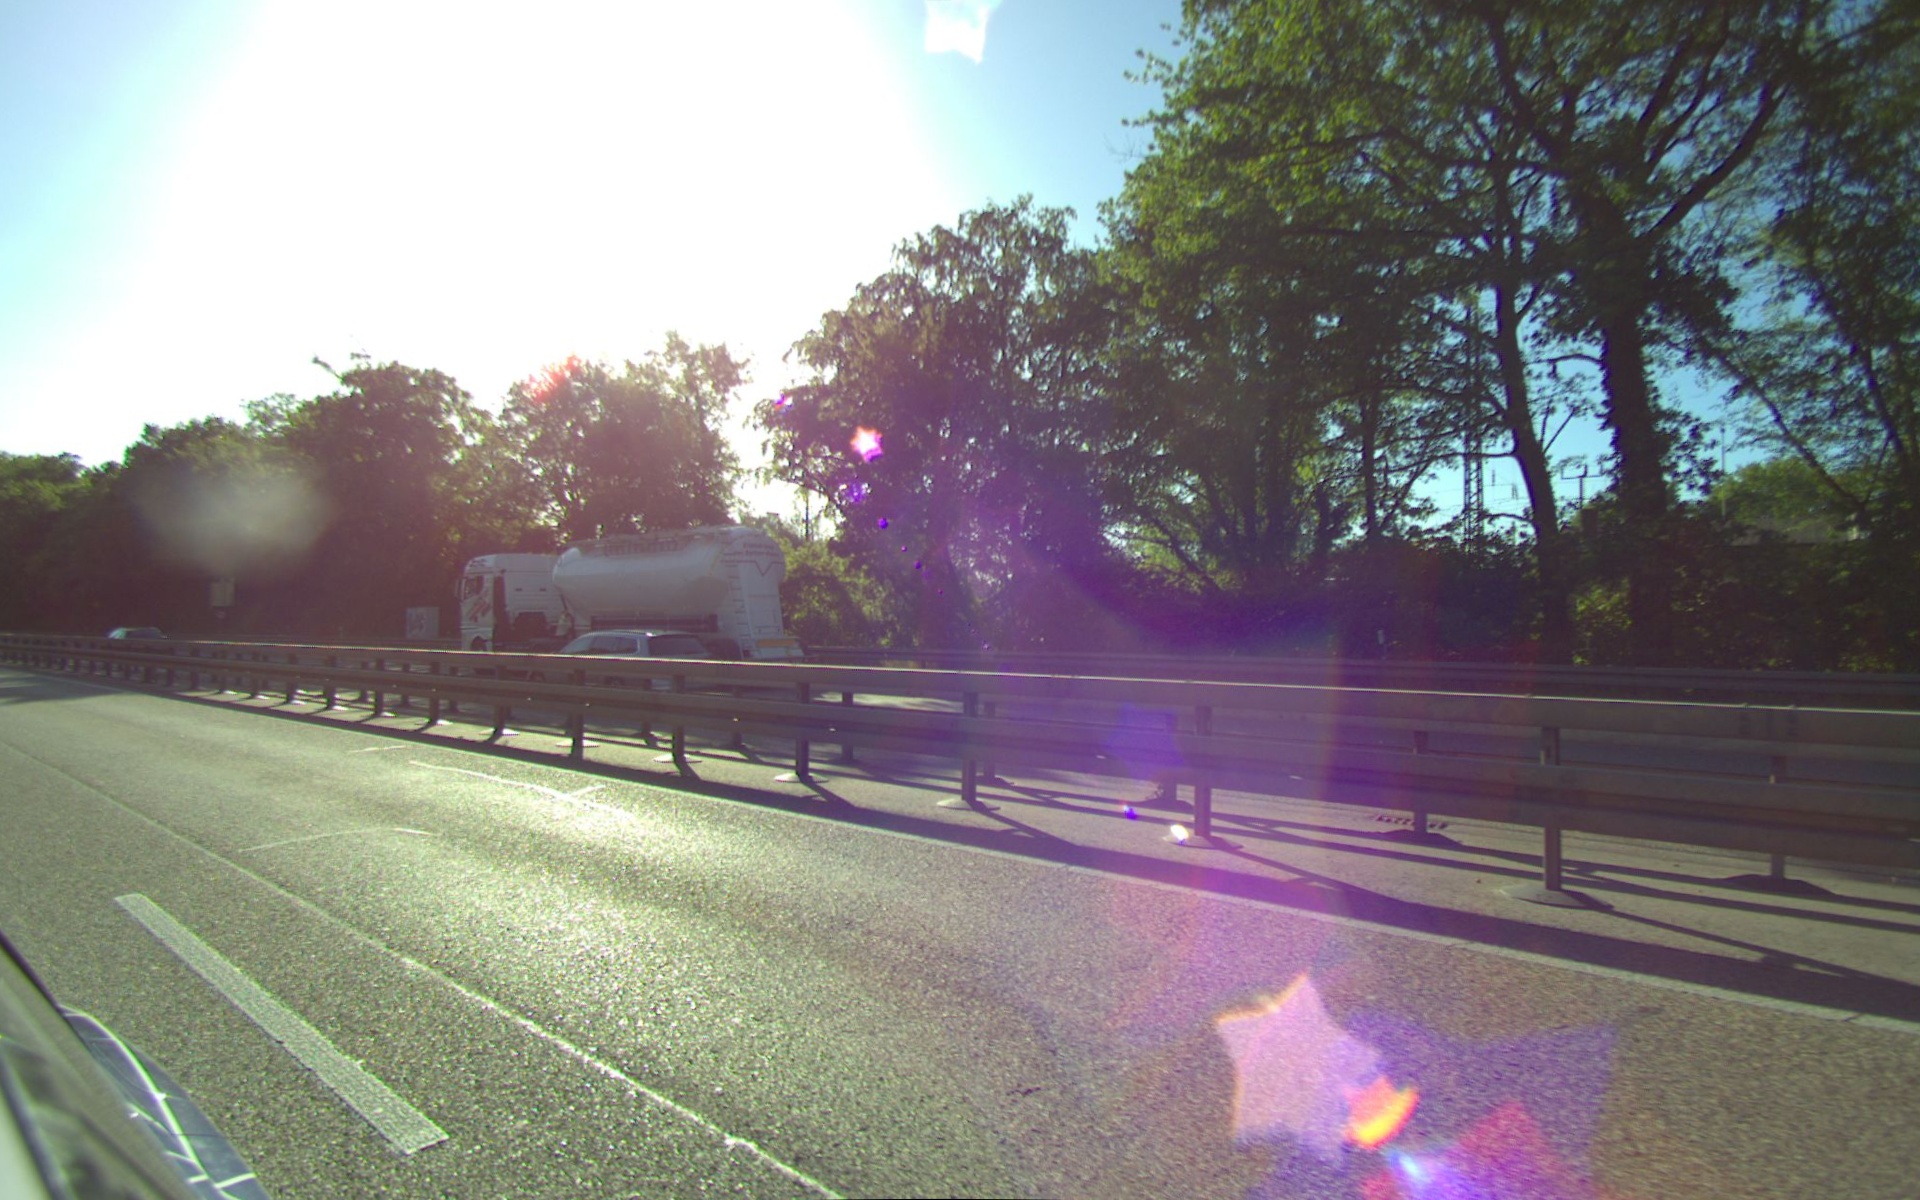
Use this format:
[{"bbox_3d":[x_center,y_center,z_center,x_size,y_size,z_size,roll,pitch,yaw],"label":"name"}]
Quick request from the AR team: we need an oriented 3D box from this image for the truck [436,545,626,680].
[{"bbox_3d":[-13.108,0.420,30.743,6.153,3.658,2.950,-1,-2,41],"label":"truck"}]

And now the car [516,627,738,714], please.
[{"bbox_3d":[-6.499,1.268,19.496,4.690,1.478,1.781,-1,-2,38],"label":"car"}]

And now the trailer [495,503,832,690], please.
[{"bbox_3d":[-8.175,0.052,26.517,10.965,4.028,3.021,-1,-2,41],"label":"trailer"}]

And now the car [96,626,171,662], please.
[{"bbox_3d":[-35.401,1.843,43.336,4.087,1.478,1.650,-1,-2,39],"label":"car"}]
